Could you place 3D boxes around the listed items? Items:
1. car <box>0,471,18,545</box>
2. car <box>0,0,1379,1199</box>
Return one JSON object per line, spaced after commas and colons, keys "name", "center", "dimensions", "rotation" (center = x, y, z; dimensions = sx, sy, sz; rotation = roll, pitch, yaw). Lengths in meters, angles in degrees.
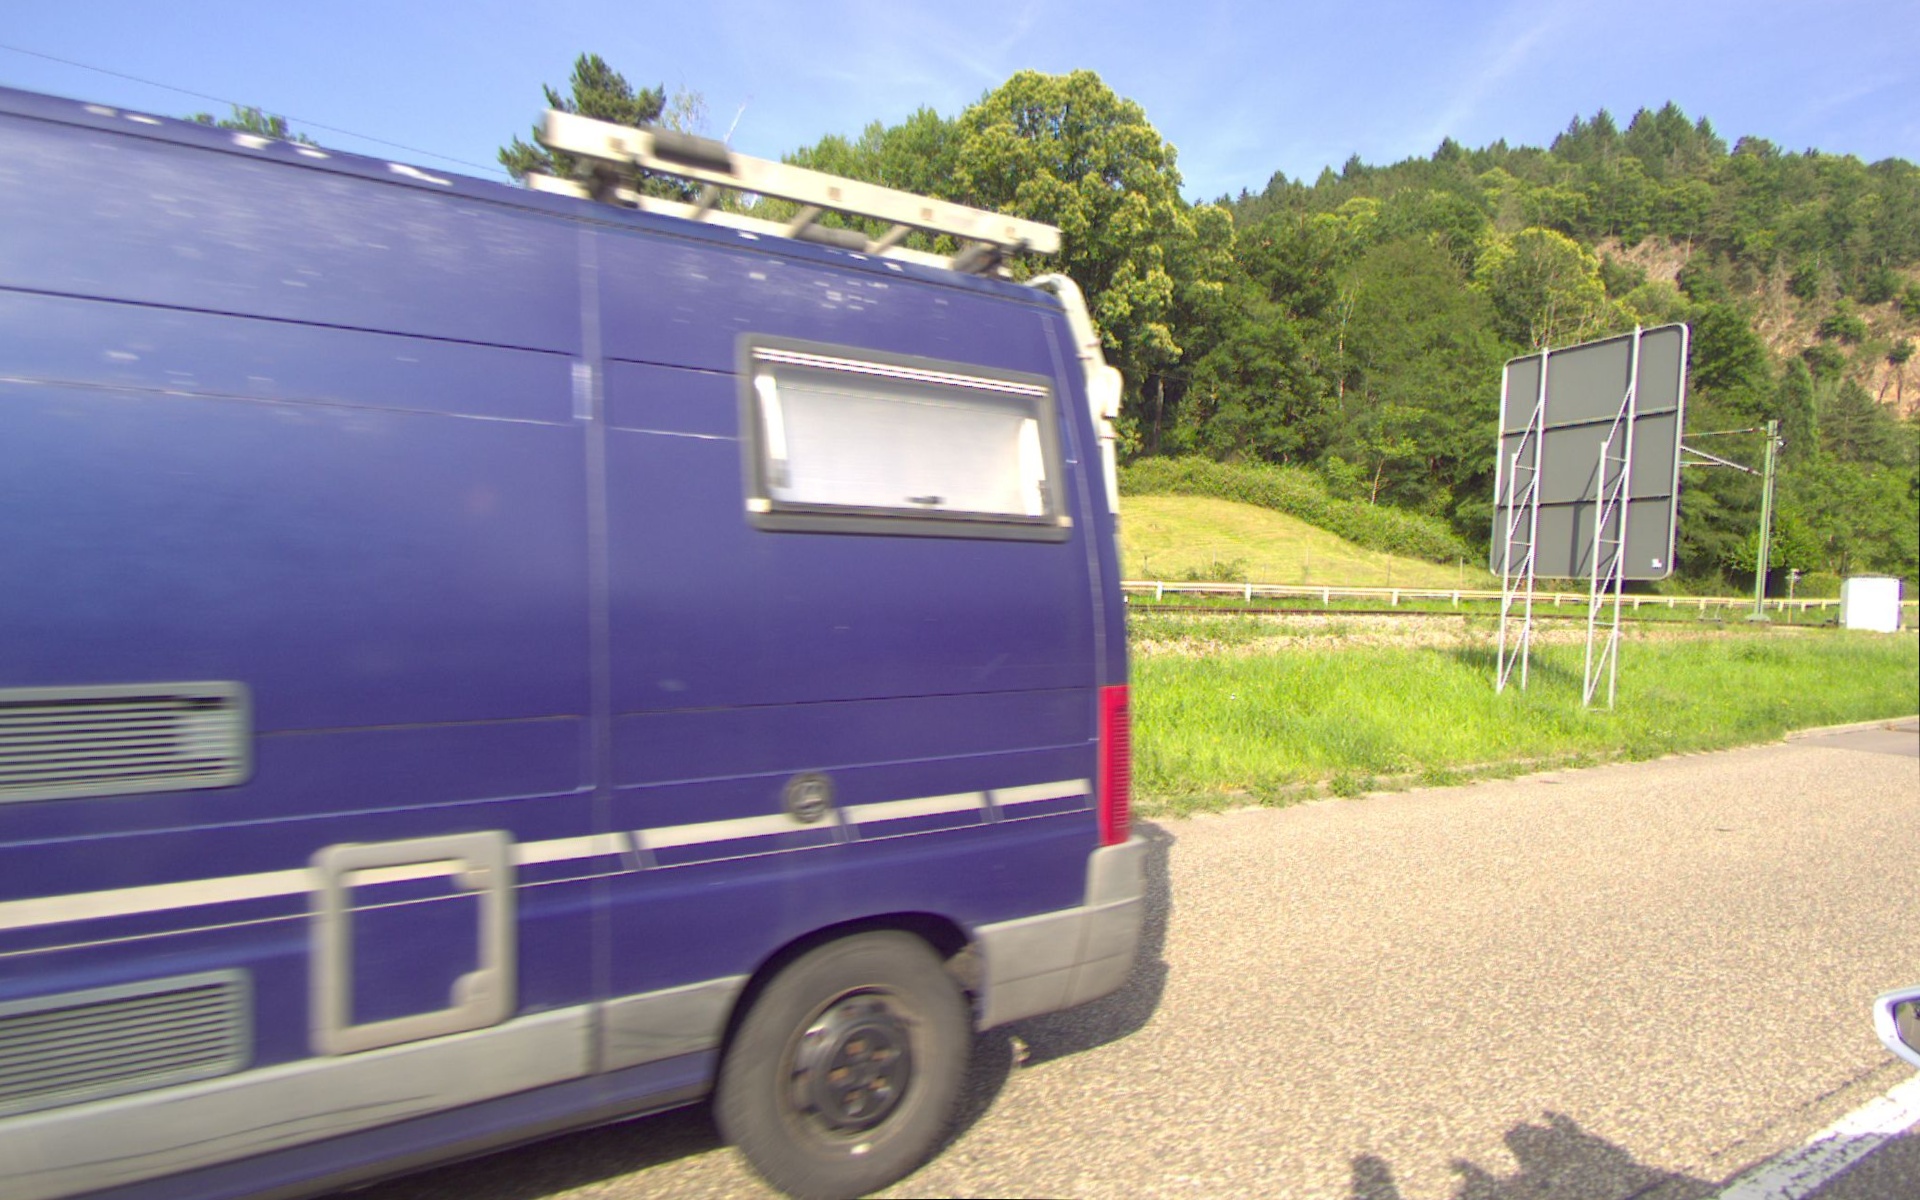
{"name": "car", "center": [-23.010, -2.142, 21.472], "dimensions": [2.419, 1.714, 4.956], "rotation": [2, 2, -20]}
{"name": "car", "center": [-1.449, 0.062, 2.913], "dimensions": [5.416, 2.650, 2.116], "rotation": [1, 0, -31]}
